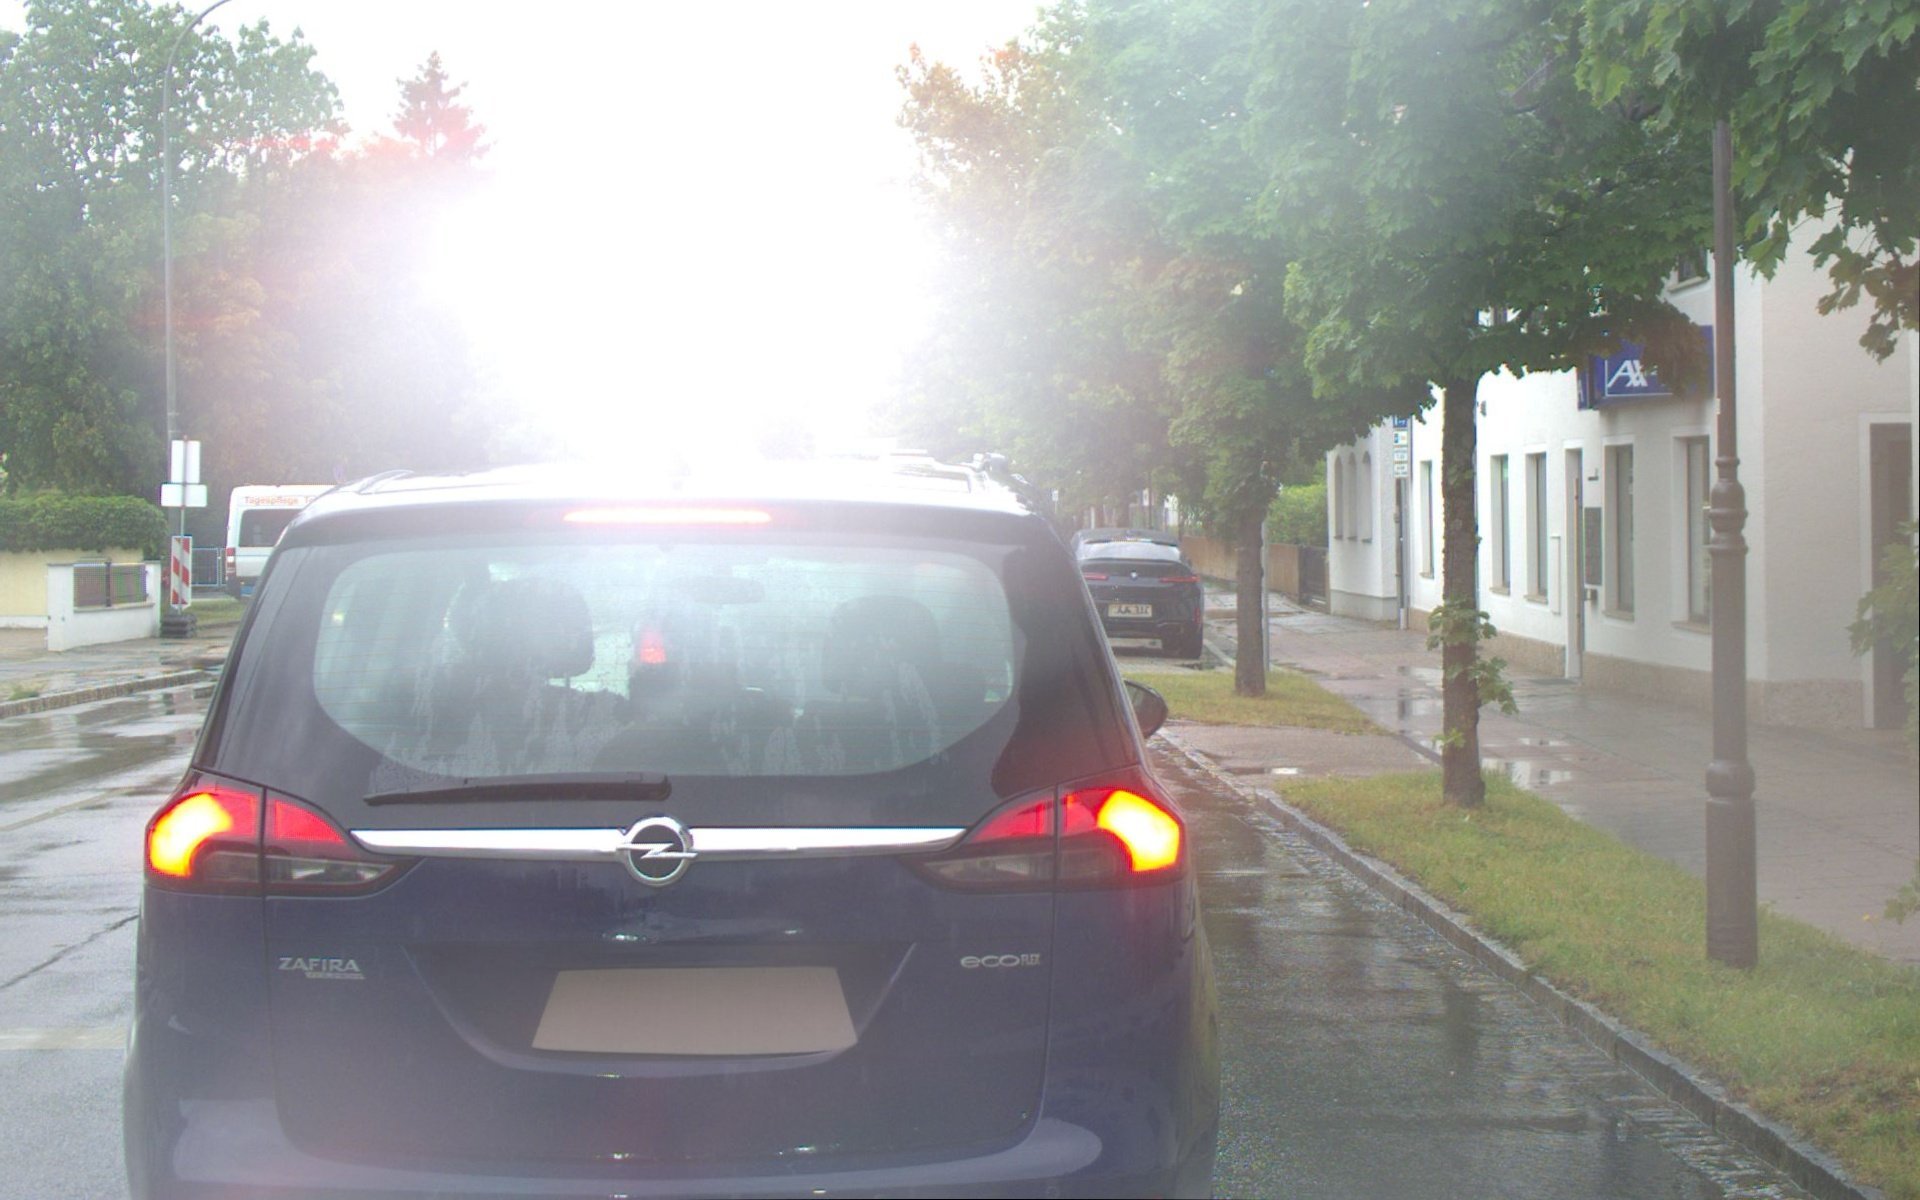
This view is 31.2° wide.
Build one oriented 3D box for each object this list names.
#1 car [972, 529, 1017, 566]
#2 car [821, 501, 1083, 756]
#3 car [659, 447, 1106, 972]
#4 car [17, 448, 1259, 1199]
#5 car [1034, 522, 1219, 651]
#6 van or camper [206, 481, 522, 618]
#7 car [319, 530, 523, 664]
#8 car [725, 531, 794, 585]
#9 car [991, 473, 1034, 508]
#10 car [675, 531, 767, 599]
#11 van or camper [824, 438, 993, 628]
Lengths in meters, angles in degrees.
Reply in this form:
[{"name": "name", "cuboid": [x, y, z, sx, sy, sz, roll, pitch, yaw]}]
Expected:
[{"name": "car", "cuboid": [1.333, -2.029, 133.812, 1.630, 1.373, 3.623, 1, 1, -1]}, {"name": "car", "cuboid": [-0.072, 0.152, 25.047, 1.756, 1.700, 3.619, -1, 1, -1]}, {"name": "car", "cuboid": [-0.282, 0.342, 13.295, 1.500, 1.770, 3.112, 1, 1, -1]}, {"name": "car", "cuboid": [-0.488, 0.557, 6.776, 1.768, 1.599, 3.663, 1, 1, -1]}, {"name": "car", "cuboid": [2.126, -0.201, 44.985, 2.117, 1.575, 3.936, 1, 1, -1]}, {"name": "van or camper", "cuboid": [-12.127, -1.046, 70.295, 6.246, 2.698, 2.101, -1, 1, -7]}, {"name": "car", "cuboid": [-6.594, -0.074, 42.451, 1.915, 1.528, 3.899, -1, 1, -1]}, {"name": "car", "cuboid": [-6.051, -1.287, 104.068, 1.926, 1.561, 4.126, -1, 1, -1]}, {"name": "car", "cuboid": [2.164, -4.542, 142.969, 1.630, 1.373, 3.623, -1, 1, -1]}, {"name": "car", "cuboid": [-5.781, -0.865, 83.627, 1.967, 1.557, 4.152, -2, 1, -1]}, {"name": "van or camper", "cuboid": [-0.756, -1.011, 51.234, 2.360, 2.656, 5.372, -1, 1, -1]}]
